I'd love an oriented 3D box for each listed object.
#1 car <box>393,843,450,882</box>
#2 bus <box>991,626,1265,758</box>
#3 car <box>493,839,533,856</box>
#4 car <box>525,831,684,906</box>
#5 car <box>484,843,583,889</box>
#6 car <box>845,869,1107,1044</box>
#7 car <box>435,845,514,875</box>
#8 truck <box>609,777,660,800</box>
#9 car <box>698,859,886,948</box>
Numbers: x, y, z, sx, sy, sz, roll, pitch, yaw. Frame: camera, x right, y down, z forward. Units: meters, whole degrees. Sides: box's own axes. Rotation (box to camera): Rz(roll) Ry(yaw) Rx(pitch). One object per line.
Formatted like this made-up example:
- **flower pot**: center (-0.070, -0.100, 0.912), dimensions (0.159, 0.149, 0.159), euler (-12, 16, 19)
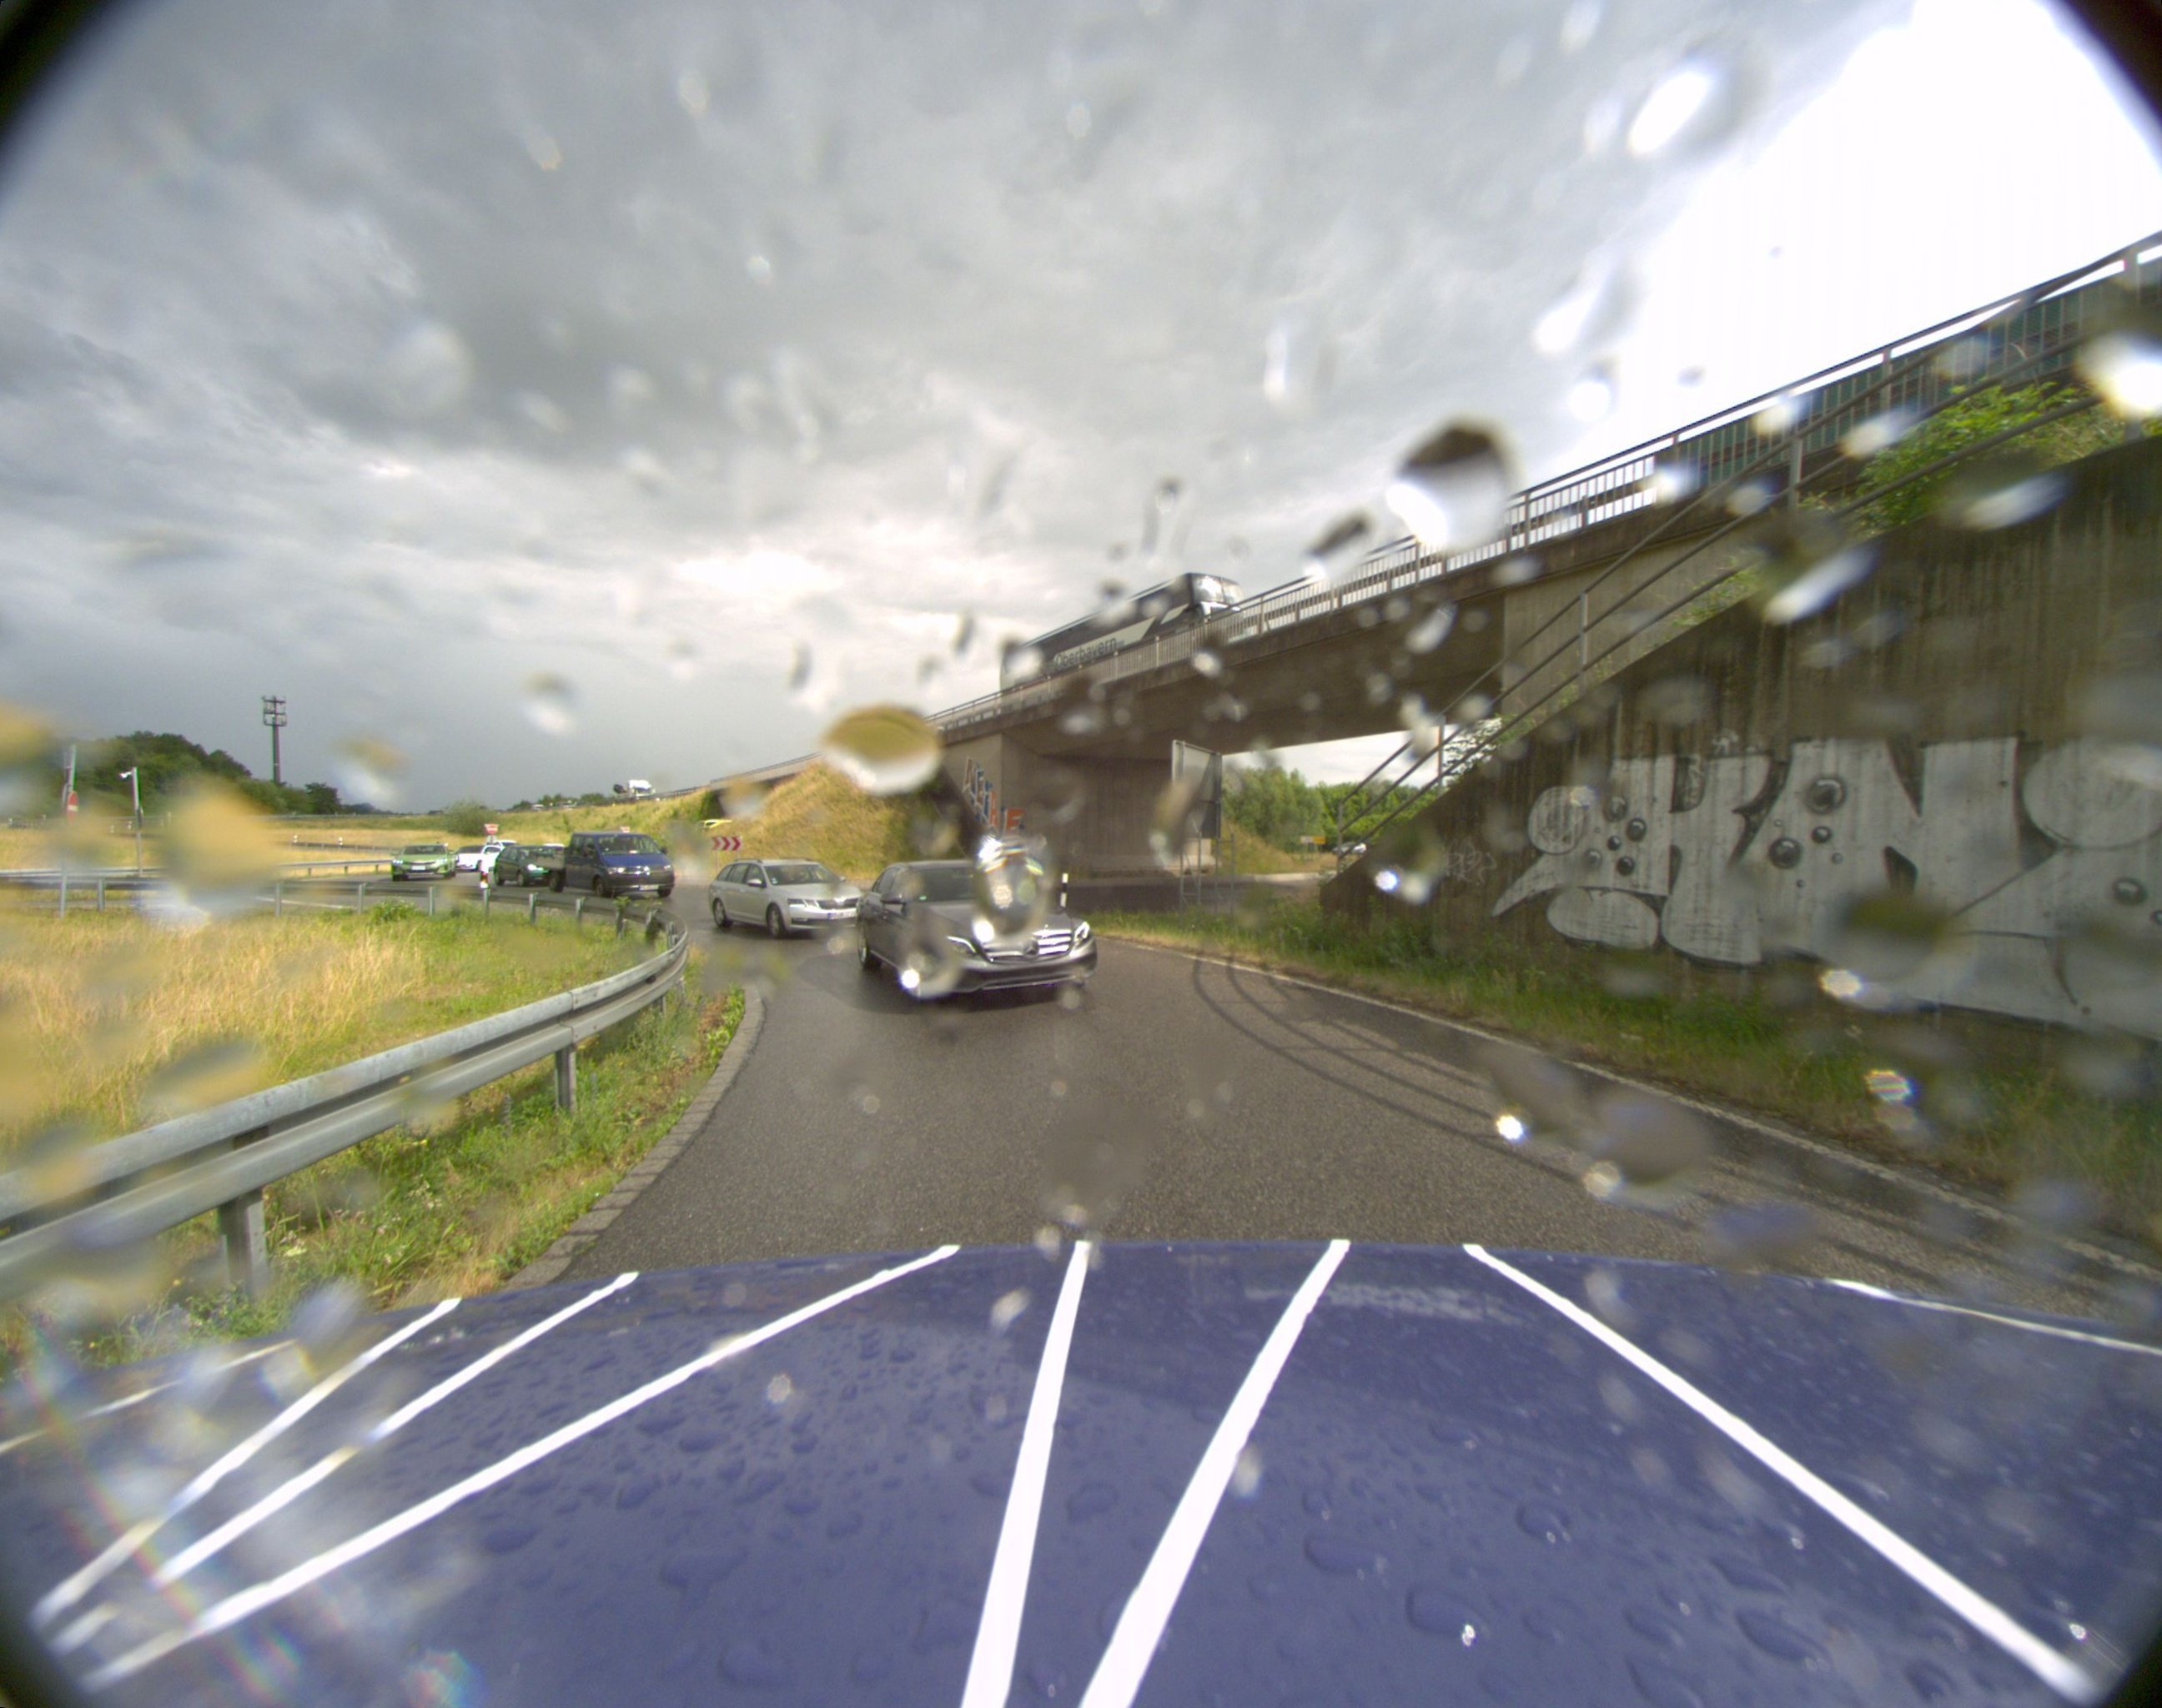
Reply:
- **car**: center (-27.324, 0.292, 31.458), dimensions (1.622, 1.466, 3.834), euler (-2, 2, -43)
- **bus**: center (0.984, -5.973, 30.749), dimensions (2.617, 3.063, 14.421), euler (-3, 4, -35)
- **car**: center (-45.617, -0.522, 60.982), dimensions (3.762, 1.283, 1.715), euler (2, 2, 39)
- **car**: center (-14.273, 0.321, 22.638), dimensions (5.664, 1.904, 1.897), euler (3, 3, 35)
- **car**: center (-19.512, 0.376, 27.042), dimensions (3.834, 1.466, 1.660), euler (1, 2, 35)
- **car**: center (-1.550, 0.955, 9.162), dimensions (1.774, 1.383, 4.580), euler (-1, 1, -26)
- **car**: center (-32.208, 0.269, 40.480), dimensions (1.619, 1.466, 3.925), euler (0, 1, -11)
- **truck**: center (-67.568, -9.846, 114.995), dimensions (9.251, 3.177, 3.167), euler (2, 4, 37)
- **car**: center (-5.881, 0.868, 15.193), dimensions (4.336, 1.390, 1.802), euler (1, 2, 44)
